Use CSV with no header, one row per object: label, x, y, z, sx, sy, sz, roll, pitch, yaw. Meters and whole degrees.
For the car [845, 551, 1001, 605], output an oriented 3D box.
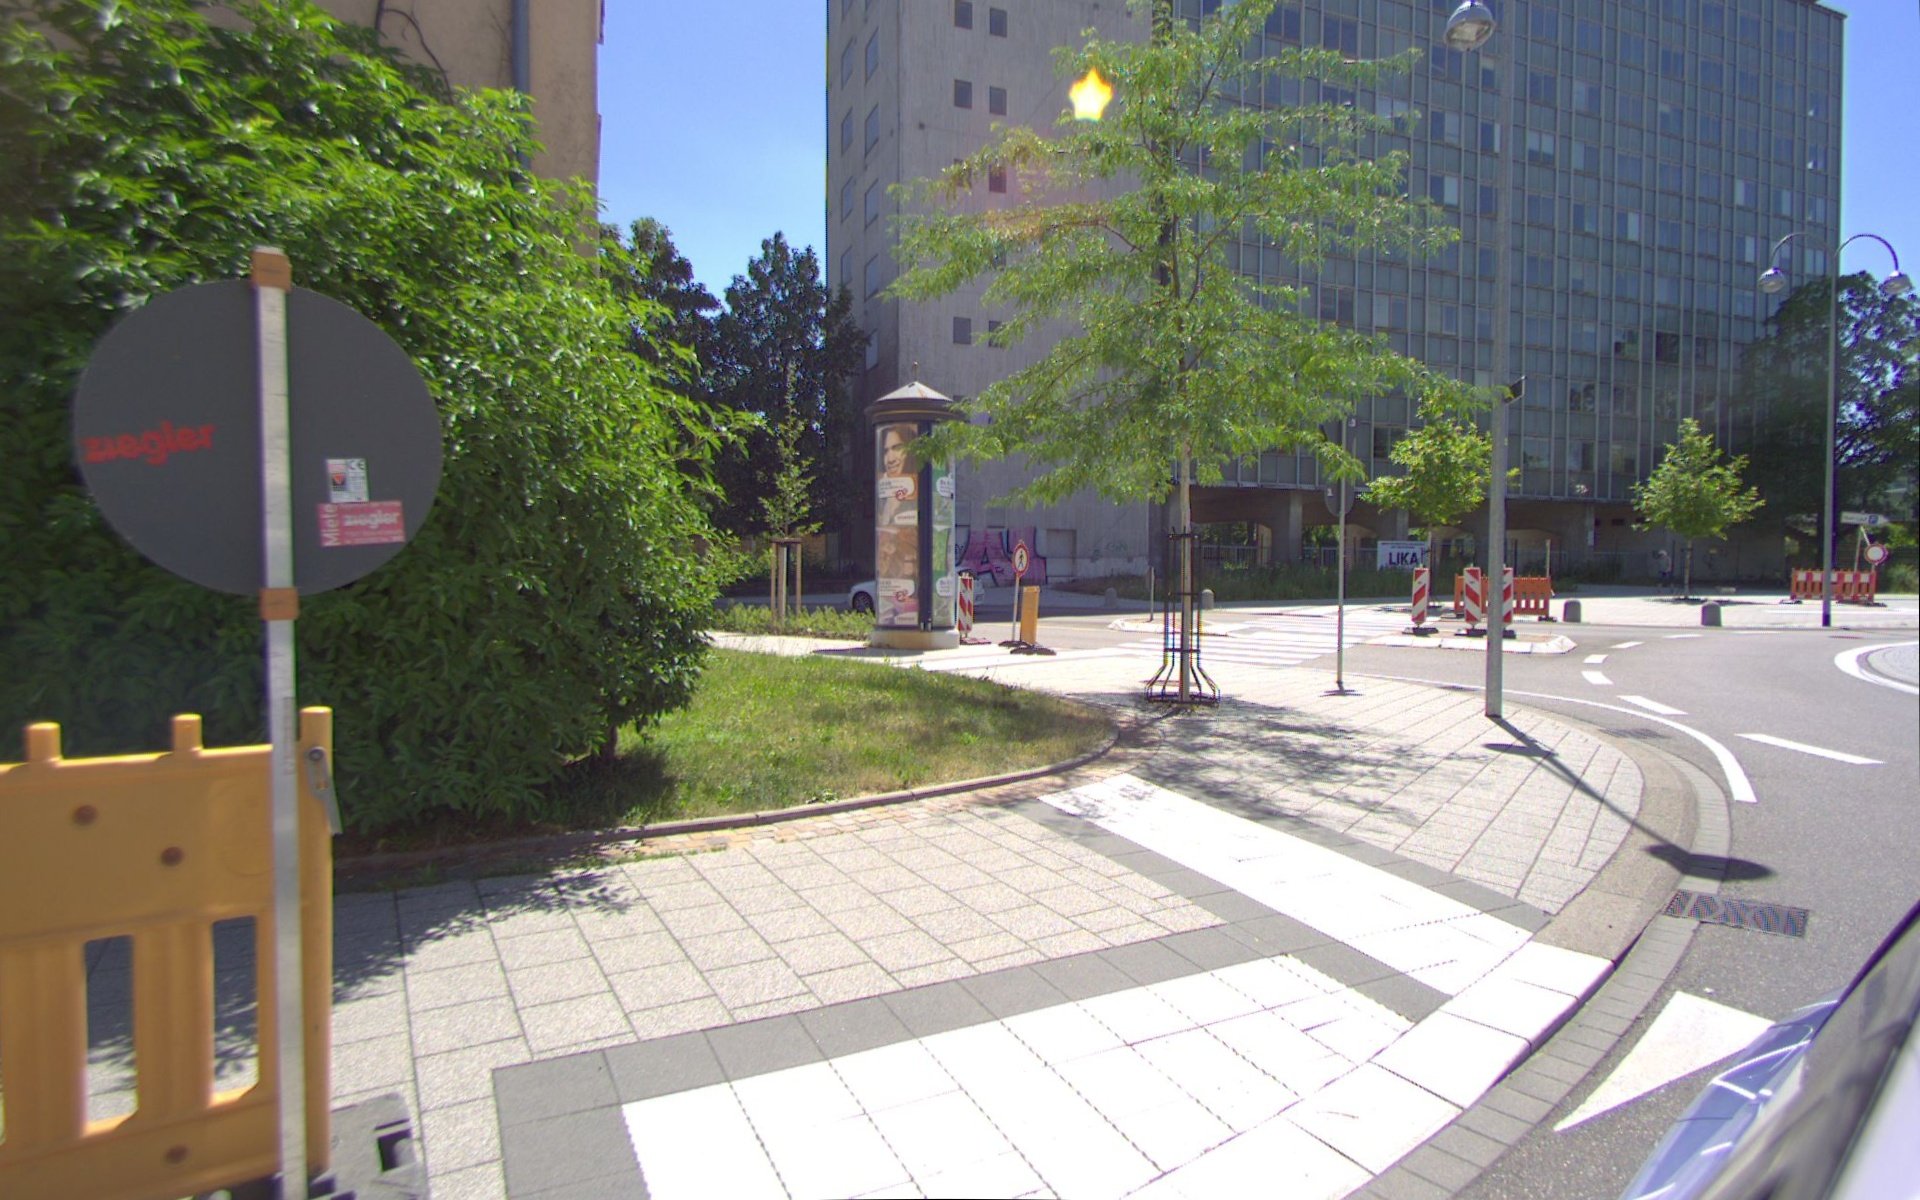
car,-1.072,-0.671,29.651,4.206,1.476,1.897,1,2,22
